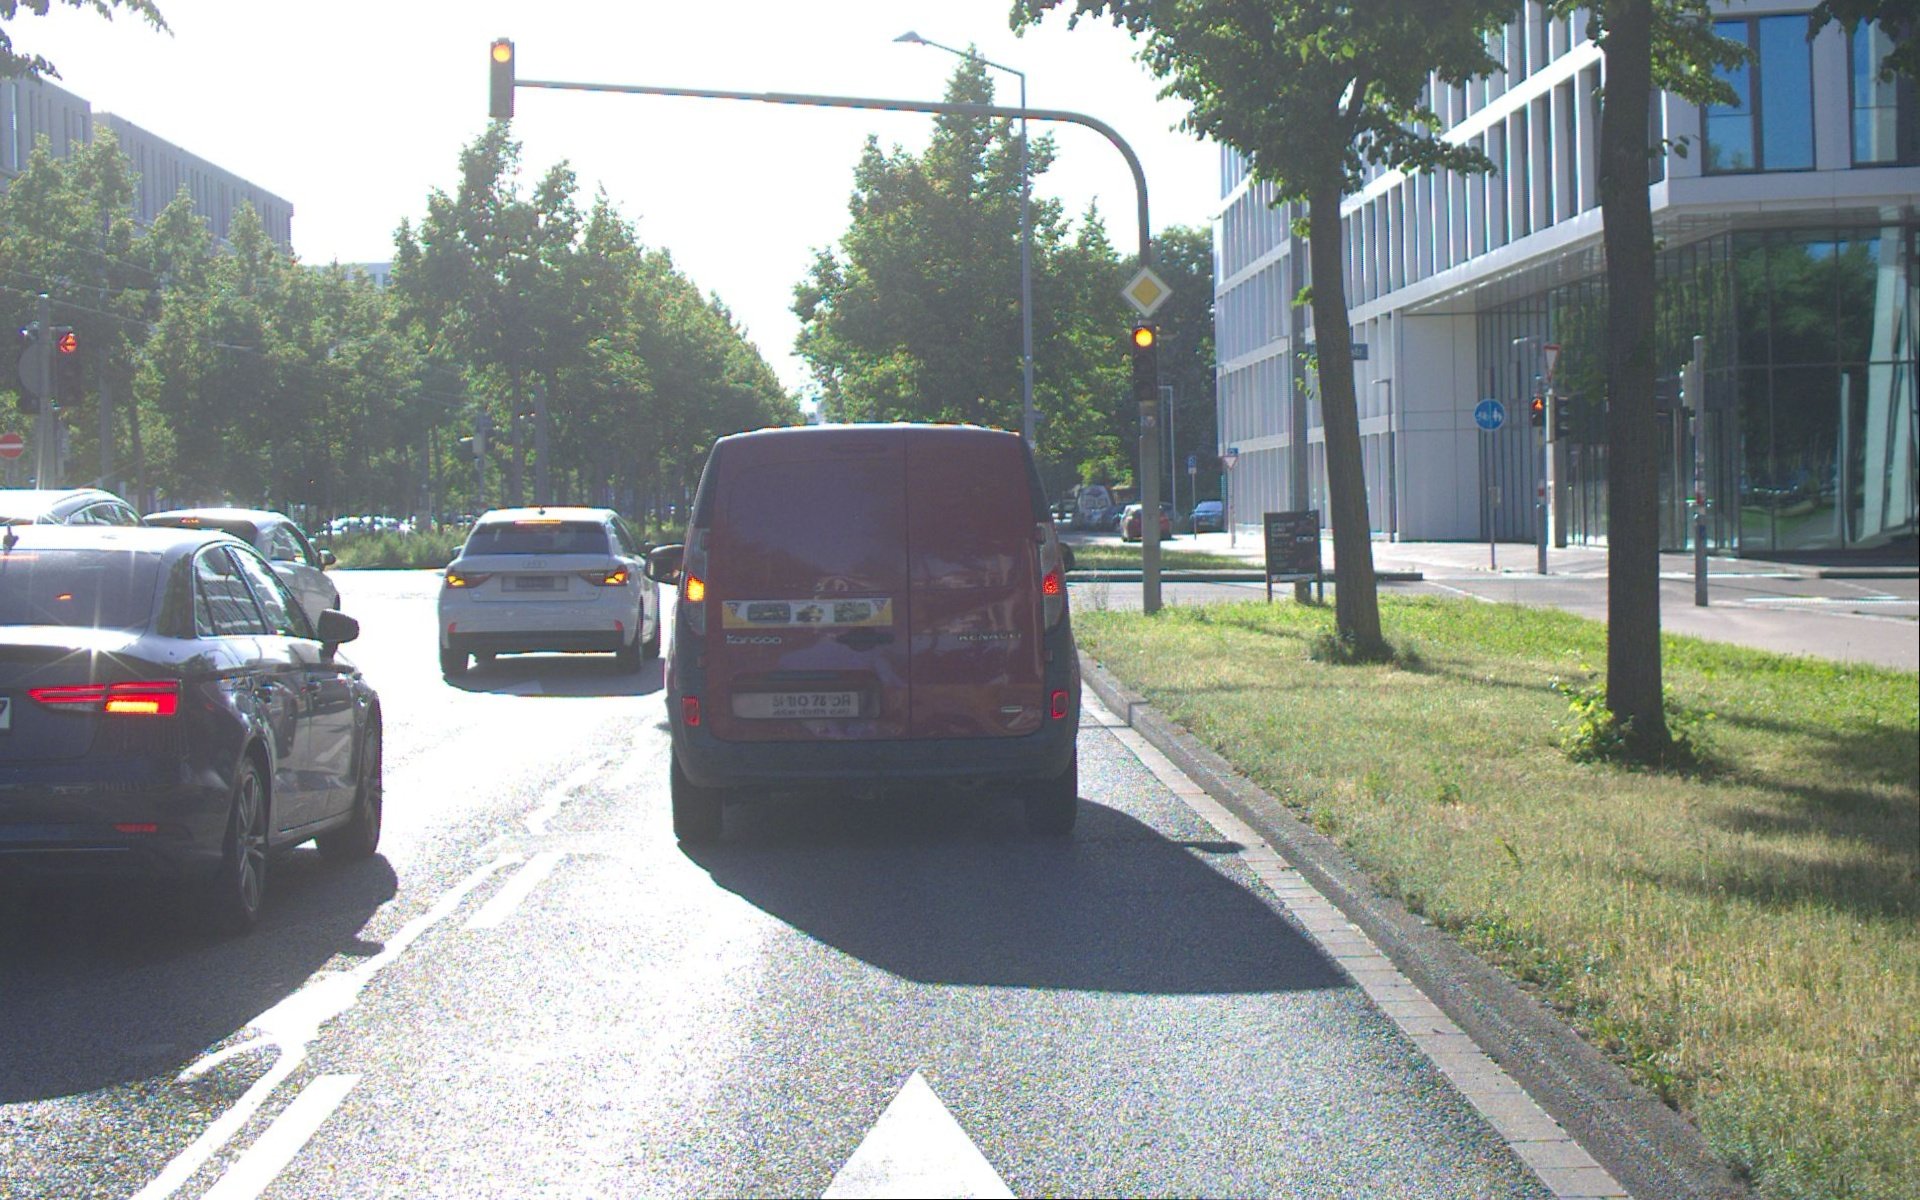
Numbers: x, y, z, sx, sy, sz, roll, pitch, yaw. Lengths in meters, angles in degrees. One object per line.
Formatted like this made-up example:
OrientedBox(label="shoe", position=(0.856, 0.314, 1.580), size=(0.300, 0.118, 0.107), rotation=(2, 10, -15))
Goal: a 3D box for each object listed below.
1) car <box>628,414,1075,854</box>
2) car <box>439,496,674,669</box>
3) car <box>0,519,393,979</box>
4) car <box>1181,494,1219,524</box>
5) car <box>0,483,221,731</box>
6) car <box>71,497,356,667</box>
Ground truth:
OrientedBox(label="car", position=(-0.404, 0.075, 16.113), size=(1.798, 1.771, 4.000), rotation=(-1, 2, 1))
OrientedBox(label="car", position=(-3.591, -0.208, 31.169), size=(1.721, 1.420, 3.817), rotation=(-1, 2, -1))
OrientedBox(label="car", position=(-3.275, 0.415, 12.692), size=(1.721, 1.361, 4.146), rotation=(0, 2, -1))
OrientedBox(label="car", position=(11.540, -4.395, 165.527), size=(1.563, 1.363, 3.334), rotation=(-1, 2, 0))
OrientedBox(label="car", position=(-6.378, -0.006, 23.261), size=(1.843, 1.529, 3.940), rotation=(-1, 2, 0))
OrientedBox(label="car", position=(-6.685, -0.213, 31.173), size=(1.715, 1.393, 4.001), rotation=(-1, 2, -1))
